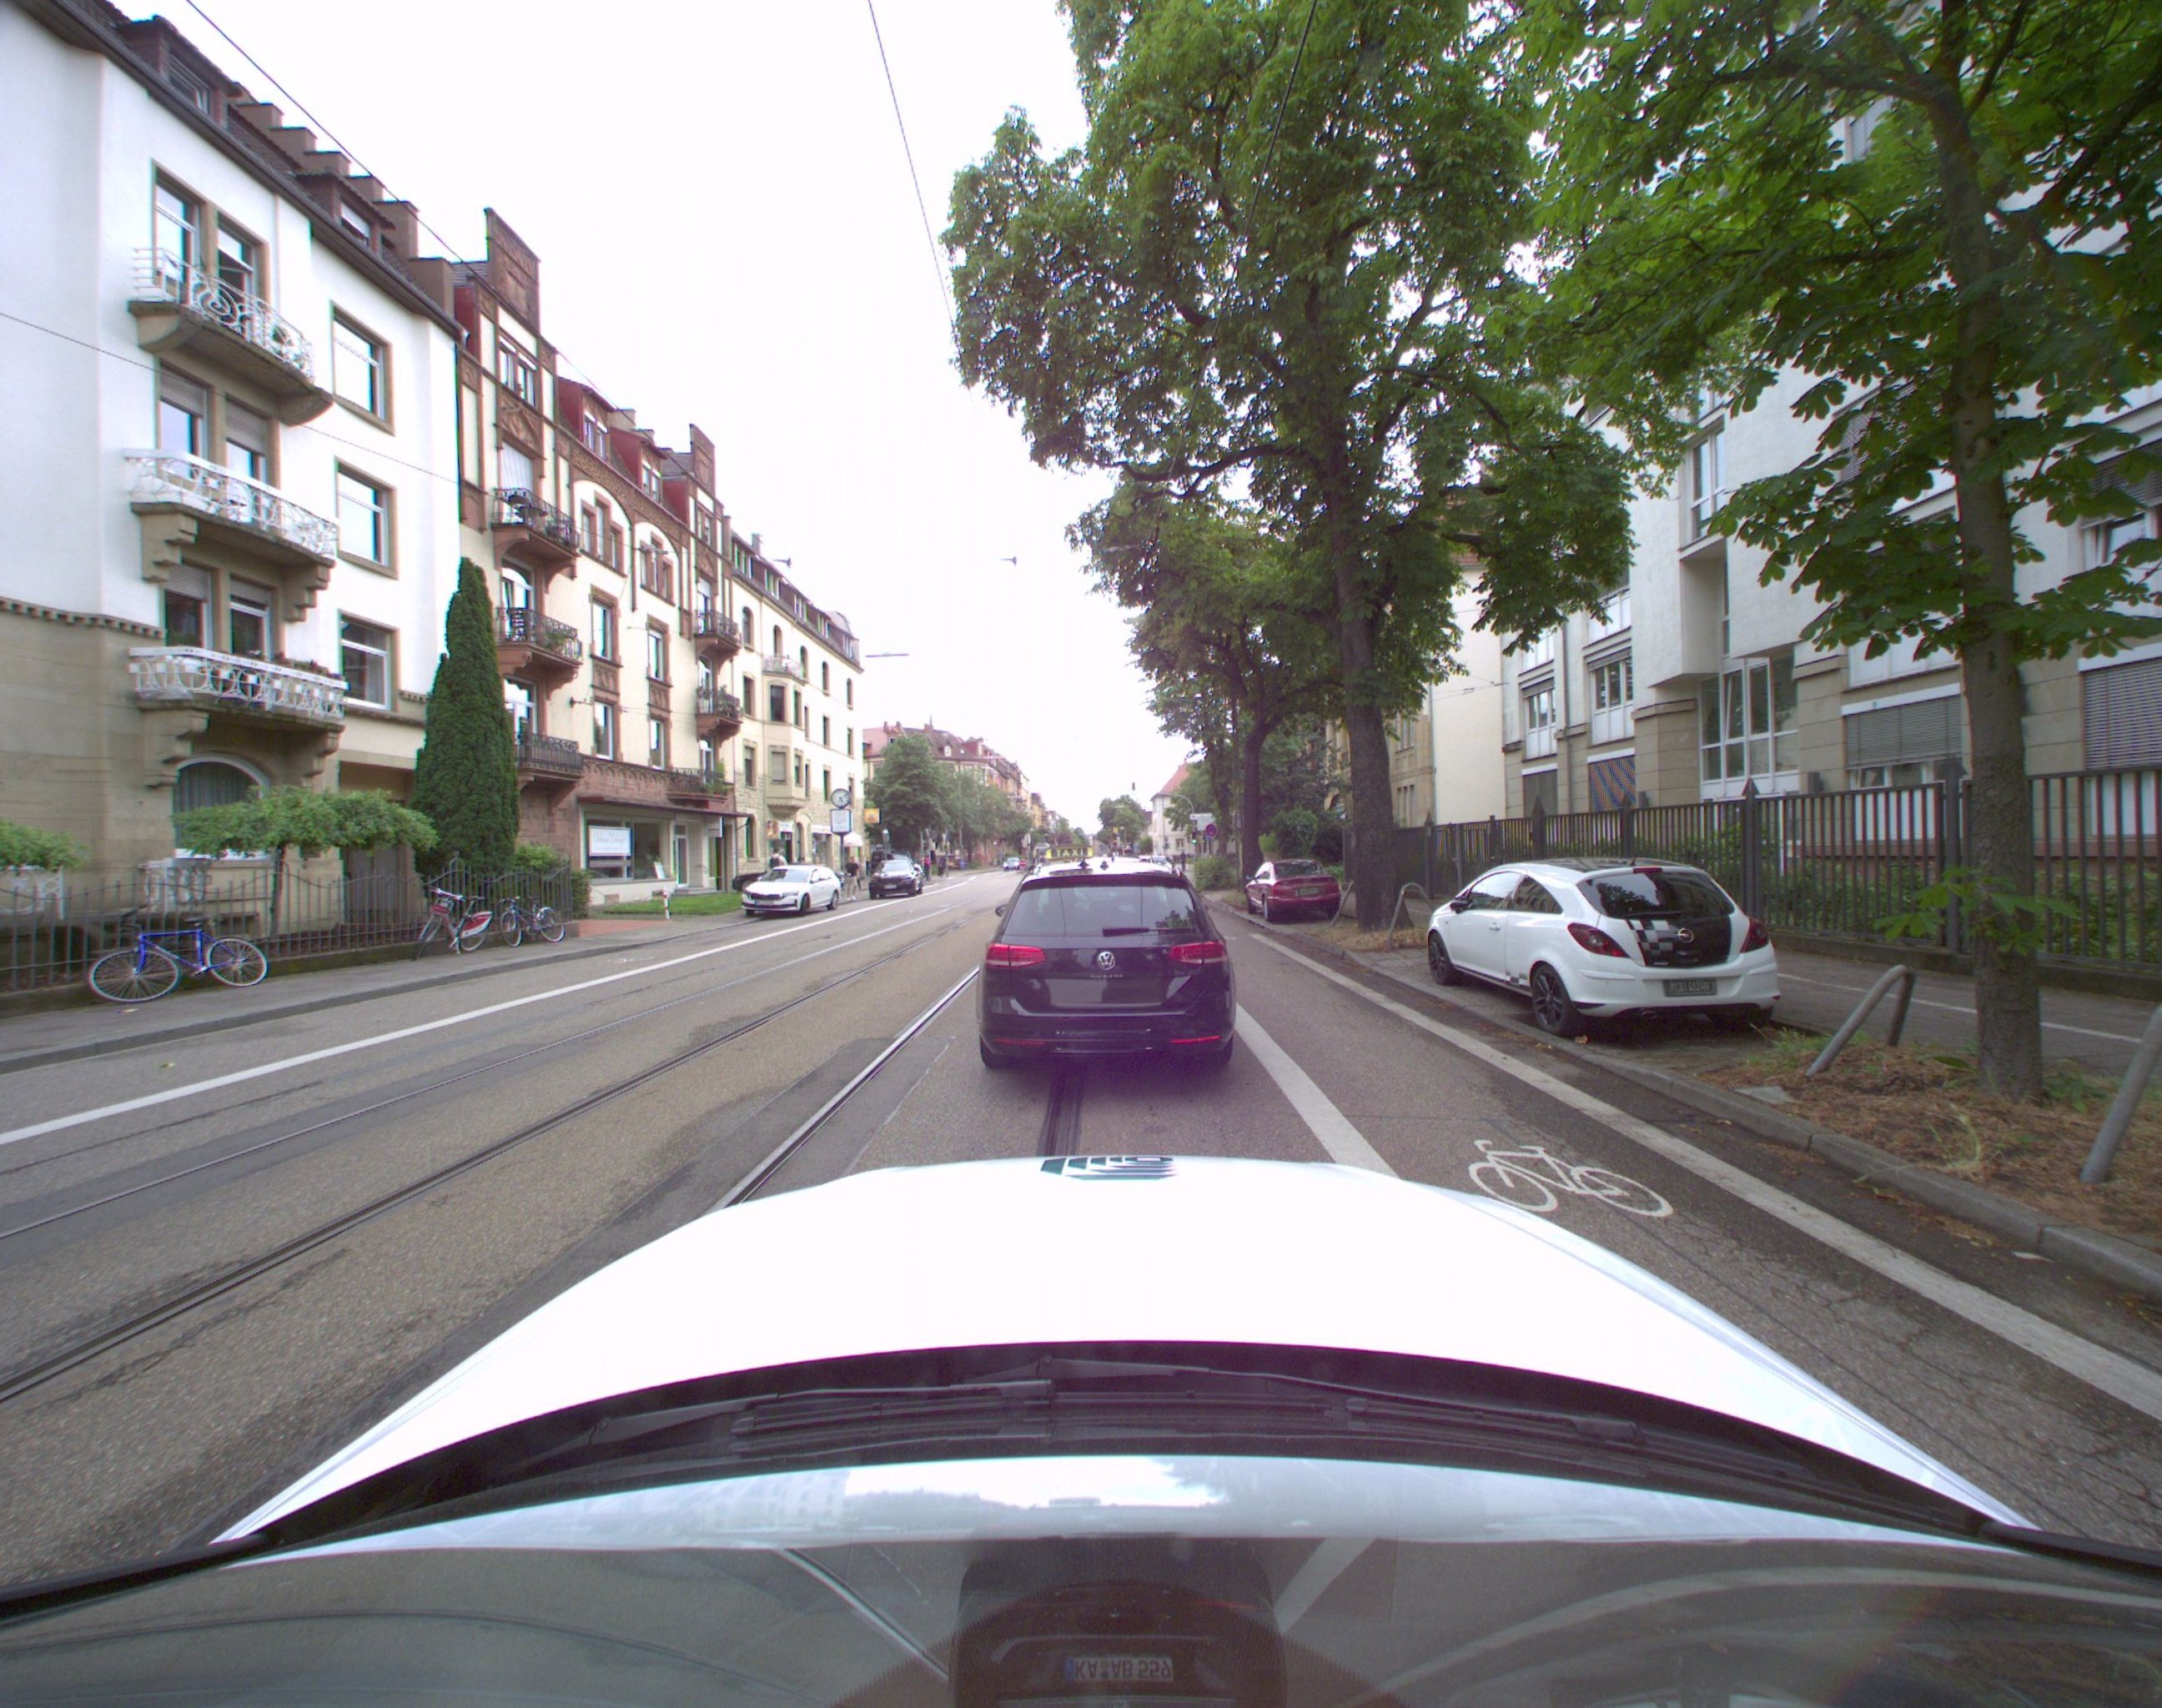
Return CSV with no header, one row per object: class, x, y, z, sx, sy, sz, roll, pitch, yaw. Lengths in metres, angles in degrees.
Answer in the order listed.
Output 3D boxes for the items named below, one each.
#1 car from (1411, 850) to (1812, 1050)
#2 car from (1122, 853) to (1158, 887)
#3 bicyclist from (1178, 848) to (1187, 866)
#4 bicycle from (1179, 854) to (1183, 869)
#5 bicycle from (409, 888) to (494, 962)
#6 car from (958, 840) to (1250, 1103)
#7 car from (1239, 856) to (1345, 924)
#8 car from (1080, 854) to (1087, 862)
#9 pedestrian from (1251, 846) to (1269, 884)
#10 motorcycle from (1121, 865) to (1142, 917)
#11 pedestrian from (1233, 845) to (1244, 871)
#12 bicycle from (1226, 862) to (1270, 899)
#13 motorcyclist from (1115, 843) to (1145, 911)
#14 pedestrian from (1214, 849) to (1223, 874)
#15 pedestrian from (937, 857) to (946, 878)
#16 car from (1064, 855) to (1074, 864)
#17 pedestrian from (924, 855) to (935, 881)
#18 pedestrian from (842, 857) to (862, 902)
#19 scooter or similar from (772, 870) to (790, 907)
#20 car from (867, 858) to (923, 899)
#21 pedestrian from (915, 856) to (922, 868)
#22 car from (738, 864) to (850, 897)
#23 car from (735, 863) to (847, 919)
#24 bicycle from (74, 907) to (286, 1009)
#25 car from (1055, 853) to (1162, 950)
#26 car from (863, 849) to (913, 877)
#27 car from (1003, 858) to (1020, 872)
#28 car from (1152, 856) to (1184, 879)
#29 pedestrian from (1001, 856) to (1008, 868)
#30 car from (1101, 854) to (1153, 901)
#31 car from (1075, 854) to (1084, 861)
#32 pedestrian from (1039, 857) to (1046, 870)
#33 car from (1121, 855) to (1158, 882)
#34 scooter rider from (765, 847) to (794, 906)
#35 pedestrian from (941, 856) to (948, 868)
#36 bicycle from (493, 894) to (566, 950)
car,4.807,0.733,8.107,1.596,1.435,3.779,-3,0,3
car,2.838,0.778,39.640,1.600,1.556,3.579,0,-1,2
bicyclist,8.775,0.263,70.283,0.647,1.568,0.697,-2,0,8
bicycle,8.620,0.648,70.185,0.295,1.223,1.434,-2,0,9
bicycle,-10.562,1.156,13.724,0.385,1.102,1.620,-2,0,-9
car,0.203,0.701,6.860,1.717,1.546,4.002,-1,0,2
car,5.085,0.803,20.192,1.596,1.399,4.229,-3,0,2
car,0.646,1.159,216.215,1.987,2.014,4.000,0,-1,1
pedestrian,8.825,0.528,40.169,0.630,1.815,0.726,-2,0,-1
motorcycle,1.284,0.907,20.730,0.445,1.235,1.907,-2,0,2
pedestrian,11.294,0.298,58.505,0.582,1.831,0.605,-5,-1,4
bicycle,5.671,0.887,27.597,1.915,1.198,0.428,0,-2,-43
motorcyclist,1.238,0.568,20.819,0.700,1.692,0.805,-2,0,1
pedestrian,10.325,0.525,61.172,0.510,1.831,0.420,-5,-1,18
pedestrian,-11.374,1.094,66.314,0.587,1.663,0.839,-2,0,-2
car,-2.324,1.021,156.319,1.715,1.622,3.864,-2,0,1
pedestrian,-10.873,0.970,58.286,0.621,1.842,0.609,-2,0,-1
pedestrian,-9.628,1.063,34.188,0.670,1.844,0.875,-2,0,-22
scooter or similar,-10.419,1.198,28.289,0.230,1.234,0.954,-2,0,2
car,-8.354,1.066,36.973,1.881,1.611,4.875,-4,0,-7
pedestrian,-21.496,1.079,107.917,0.582,1.521,0.653,-2,0,37
car,-12.925,1.166,36.887,4.415,1.370,1.878,1,0,-3
car,-8.911,1.075,25.437,1.741,1.484,4.609,-2,0,1
bicycle,-10.835,1.214,9.887,0.356,0.928,1.663,-21,-1,4
car,0.520,0.774,15.290,1.717,1.546,4.002,-1,0,2
car,-17.488,0.861,73.640,2.197,2.417,5.316,-1,0,-41
car,-7.656,1.165,89.802,1.604,1.422,3.484,-3,0,-1
car,6.178,0.953,58.177,1.986,1.577,4.001,0,-1,2
pedestrian,-10.302,1.108,109.579,0.582,1.521,0.653,-2,0,37
car,1.615,0.791,29.399,1.717,1.546,4.002,-1,0,2
car,-0.331,0.772,184.005,1.715,1.622,3.864,-2,0,1
pedestrian,-4.473,1.095,95.096,0.711,1.521,0.590,-2,0,3
car,3.522,0.826,48.353,1.881,1.408,4.009,-2,0,8
scooter rider,-10.475,0.772,28.314,0.639,2.013,0.758,-2,0,1
pedestrian,-18.165,1.083,108.366,0.582,1.521,0.653,-2,0,37
bicycle,-10.719,1.301,15.879,0.331,0.938,1.516,-2,0,1
